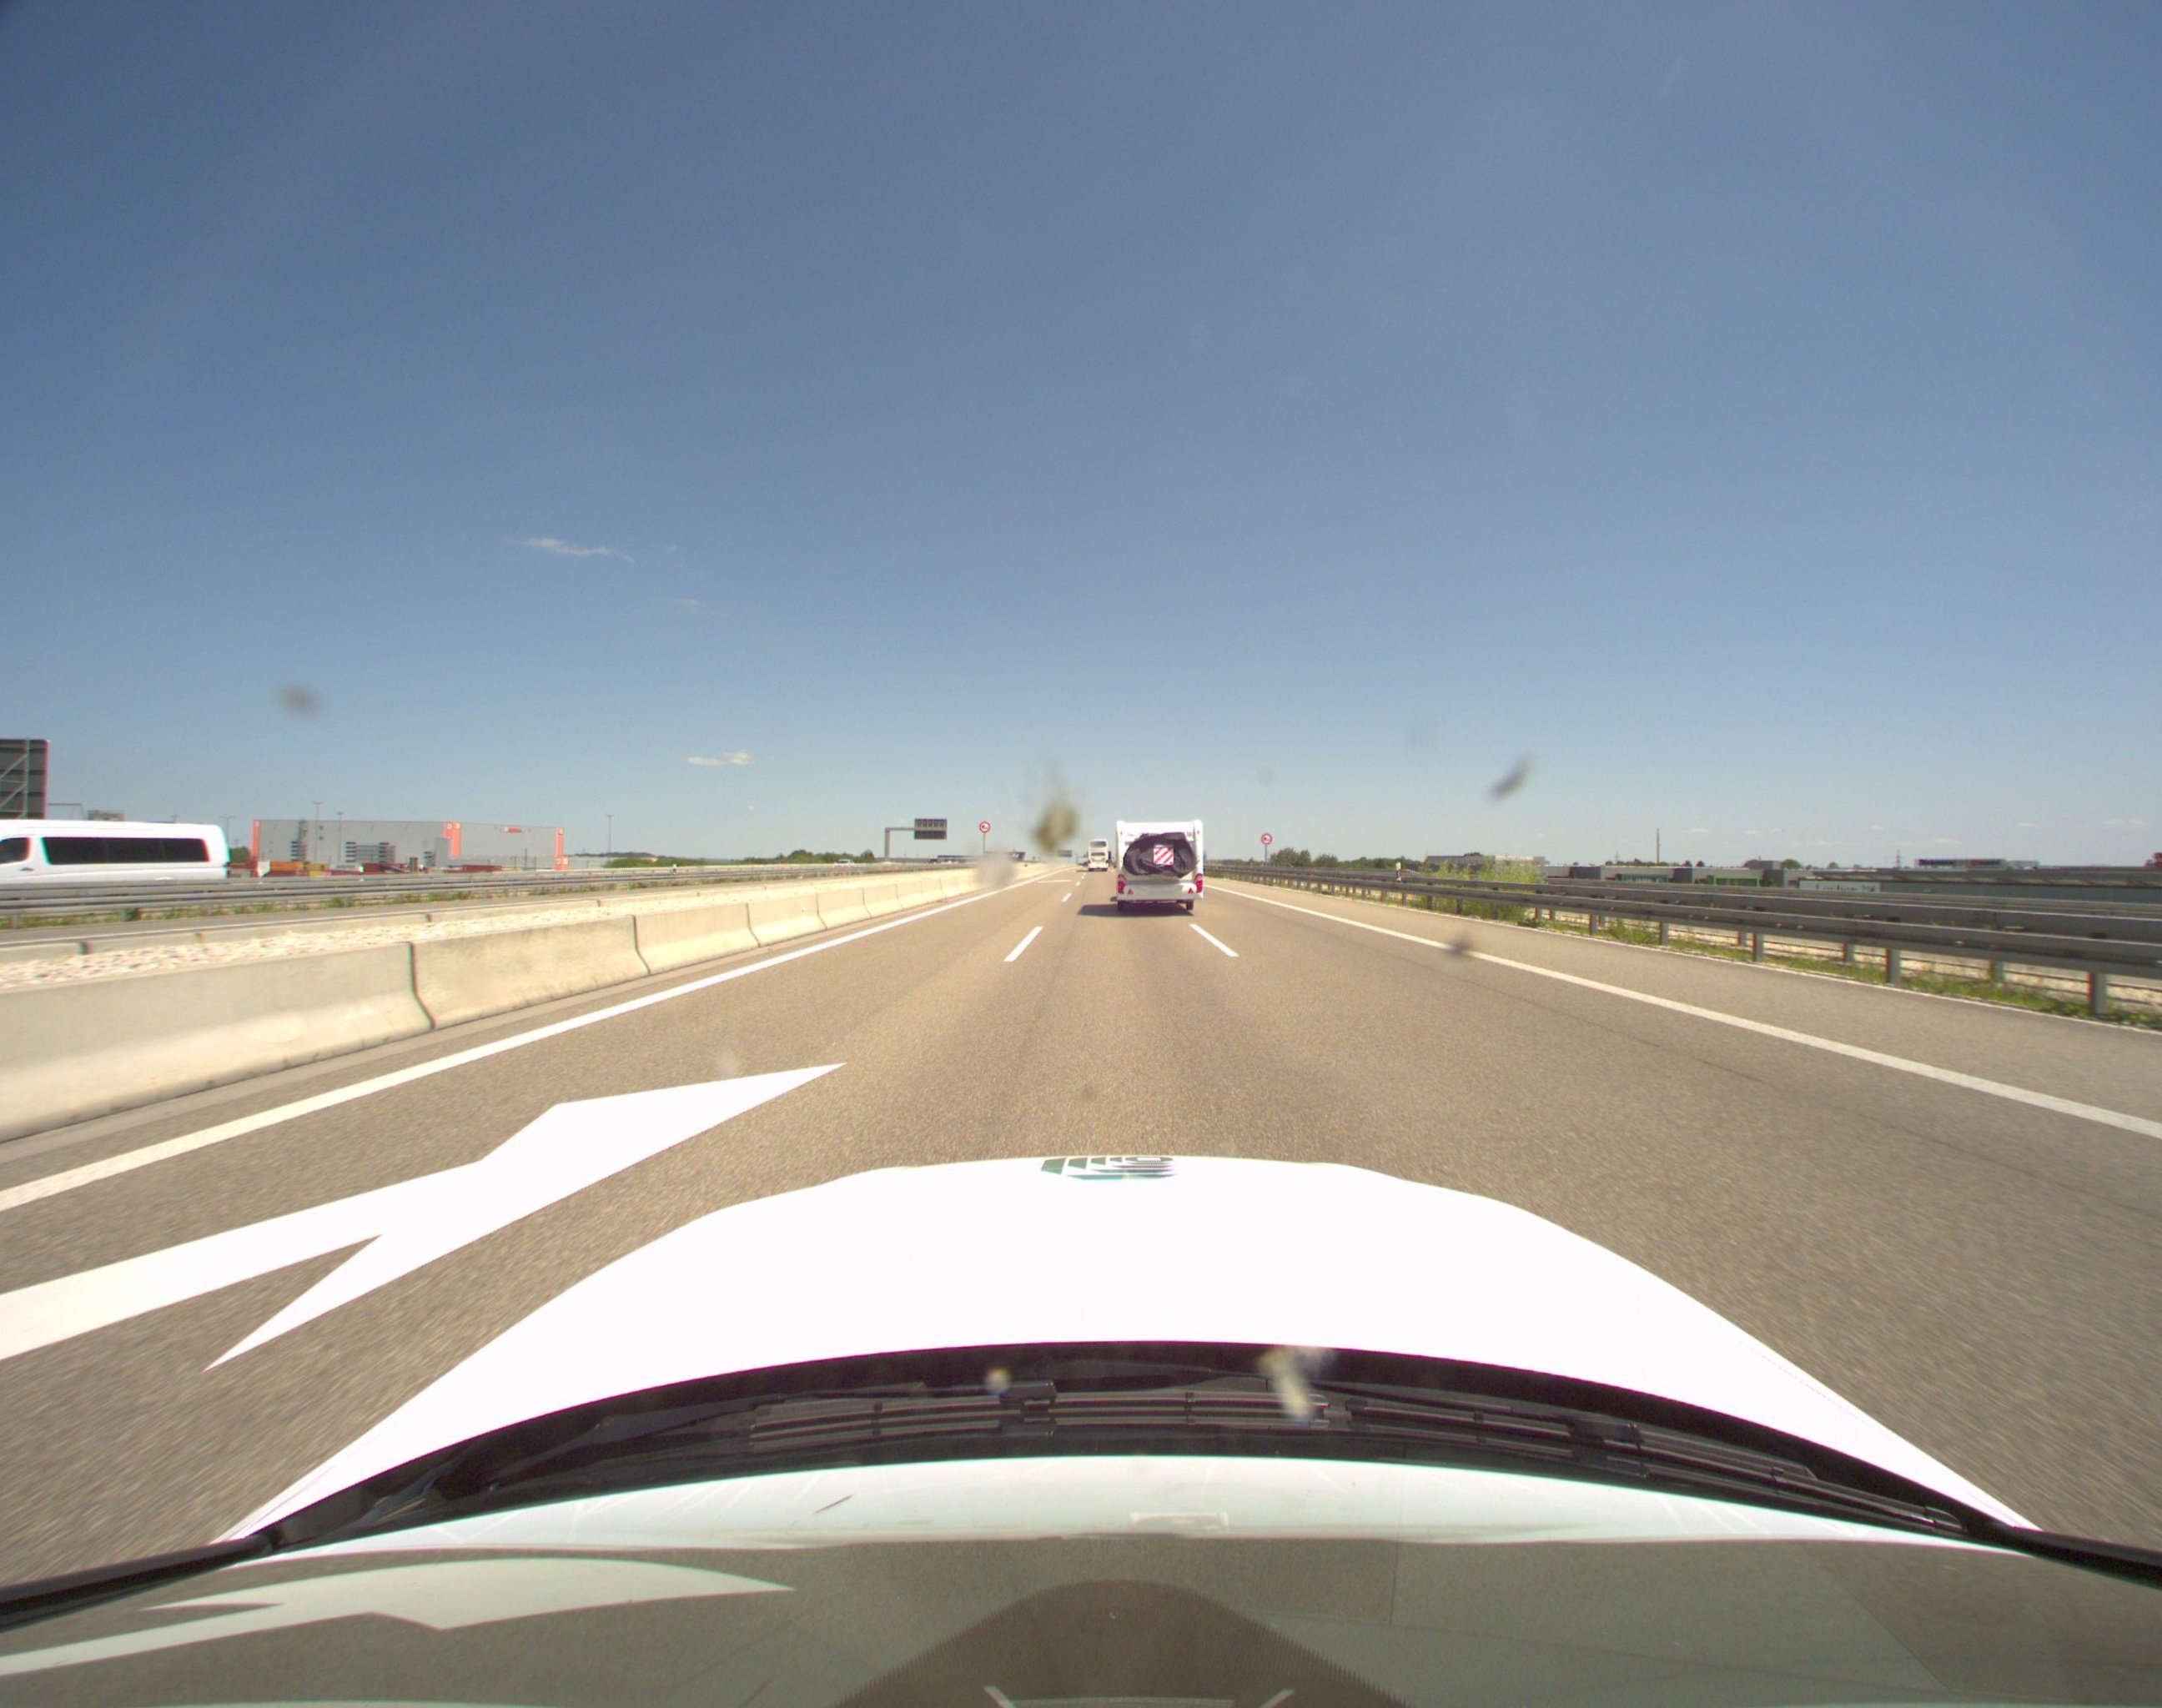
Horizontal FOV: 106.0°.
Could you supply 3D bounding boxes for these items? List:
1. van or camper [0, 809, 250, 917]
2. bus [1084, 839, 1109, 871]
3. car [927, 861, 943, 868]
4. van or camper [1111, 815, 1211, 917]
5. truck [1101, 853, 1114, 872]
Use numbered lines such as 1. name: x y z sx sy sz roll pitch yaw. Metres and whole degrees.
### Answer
1. van or camper: -29.385 0.270 23.677 2.536 2.822 7.545 0 0 2
2. bus: 1.916 0.182 106.225 2.971 3.975 9.100 0 0 -1
3. car: -27.566 1.943 153.771 1.985 1.379 4.365 0 0 3
4. van or camper: 2.186 0.331 24.648 2.502 2.593 7.821 0 0 2
5. truck: 7.181 2.406 222.725 3.367 4.465 13.568 0 -3 2
